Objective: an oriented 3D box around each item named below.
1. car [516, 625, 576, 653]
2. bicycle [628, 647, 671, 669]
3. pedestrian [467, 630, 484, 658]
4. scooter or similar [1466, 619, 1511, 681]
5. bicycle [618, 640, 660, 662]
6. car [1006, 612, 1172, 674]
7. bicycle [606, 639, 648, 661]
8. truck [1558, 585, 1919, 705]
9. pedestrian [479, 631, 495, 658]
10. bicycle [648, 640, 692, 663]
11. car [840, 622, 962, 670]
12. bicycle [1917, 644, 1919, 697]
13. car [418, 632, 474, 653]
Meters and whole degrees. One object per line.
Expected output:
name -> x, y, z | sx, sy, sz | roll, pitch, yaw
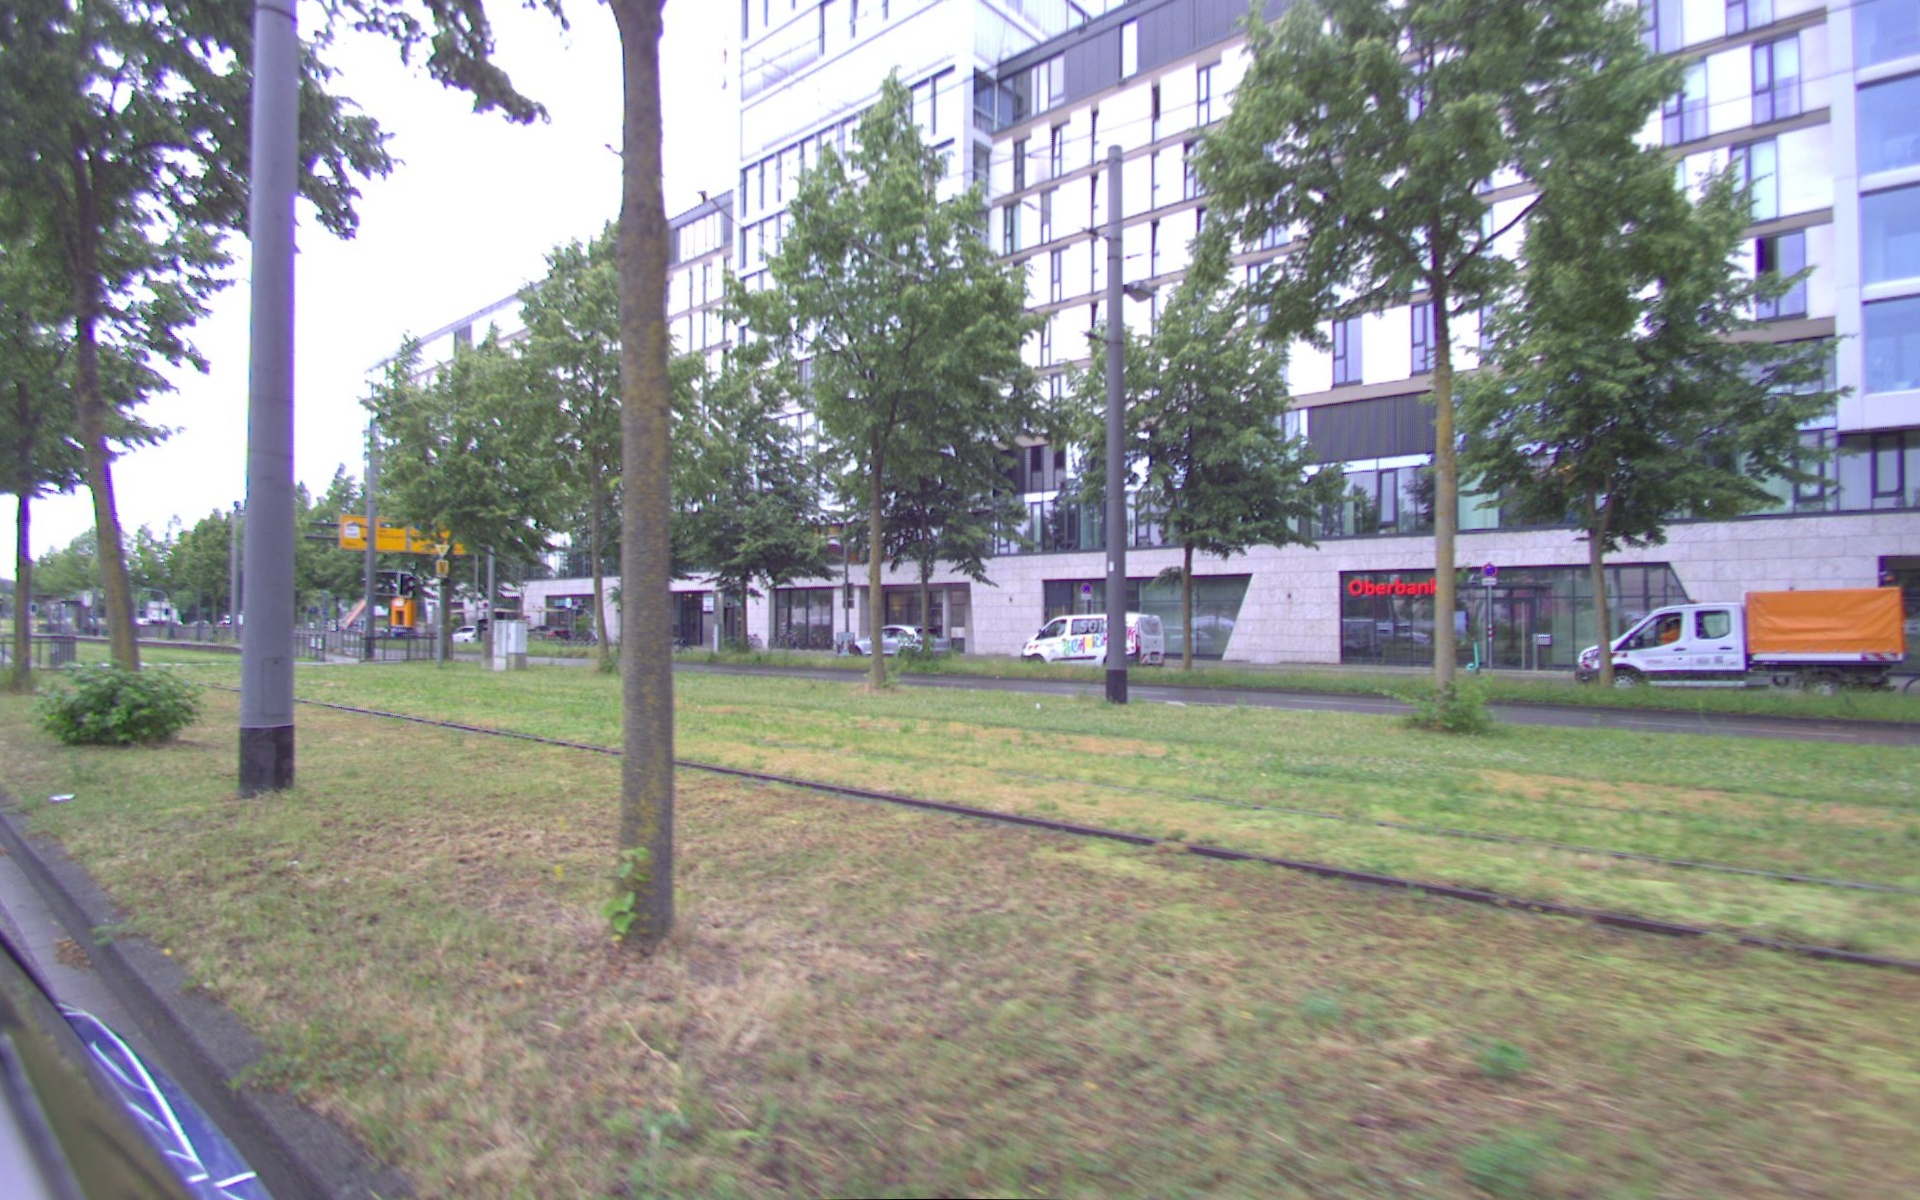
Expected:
car -> -26.992, 2.524, 65.933 | 4.190, 1.706, 1.973 | -2, -2, 41
bicycle -> -15.325, 2.856, 49.924 | 0.696, 1.042, 1.957 | -1, -1, 42
pedestrian -> -30.461, 2.763, 63.635 | 0.793, 1.704, 0.703 | -2, -2, 44
scooter or similar -> 16.437, 1.523, 31.461 | 0.884, 1.839, 2.105 | -2, -2, 37
bicycle -> -16.220, 2.560, 51.157 | 0.696, 1.042, 1.957 | -1, -1, 42
car -> 4.146, 1.362, 33.073 | 5.161, 1.866, 1.973 | -2, -2, 41
bicycle -> -17.135, 2.559, 52.111 | 0.696, 1.042, 1.957 | -2, -2, 42
truck -> 17.053, 0.950, 22.334 | 6.306, 2.309, 2.401 | -2, -2, 41
pedestrian -> -30.076, 2.816, 64.326 | 0.793, 1.704, 0.703 | -2, -2, 44
bicycle -> -13.946, 2.461, 48.710 | 0.696, 1.042, 1.957 | -2, -2, 42
car -> -2.279, 1.726, 38.610 | 4.461, 1.725, 2.122 | -2, -2, 41
bicycle -> 18.330, 1.273, 18.091 | 0.592, 0.952, 1.758 | 2, -2, -45
car -> -33.123, 2.719, 65.167 | 4.070, 1.298, 1.972 | -1, -2, 43
